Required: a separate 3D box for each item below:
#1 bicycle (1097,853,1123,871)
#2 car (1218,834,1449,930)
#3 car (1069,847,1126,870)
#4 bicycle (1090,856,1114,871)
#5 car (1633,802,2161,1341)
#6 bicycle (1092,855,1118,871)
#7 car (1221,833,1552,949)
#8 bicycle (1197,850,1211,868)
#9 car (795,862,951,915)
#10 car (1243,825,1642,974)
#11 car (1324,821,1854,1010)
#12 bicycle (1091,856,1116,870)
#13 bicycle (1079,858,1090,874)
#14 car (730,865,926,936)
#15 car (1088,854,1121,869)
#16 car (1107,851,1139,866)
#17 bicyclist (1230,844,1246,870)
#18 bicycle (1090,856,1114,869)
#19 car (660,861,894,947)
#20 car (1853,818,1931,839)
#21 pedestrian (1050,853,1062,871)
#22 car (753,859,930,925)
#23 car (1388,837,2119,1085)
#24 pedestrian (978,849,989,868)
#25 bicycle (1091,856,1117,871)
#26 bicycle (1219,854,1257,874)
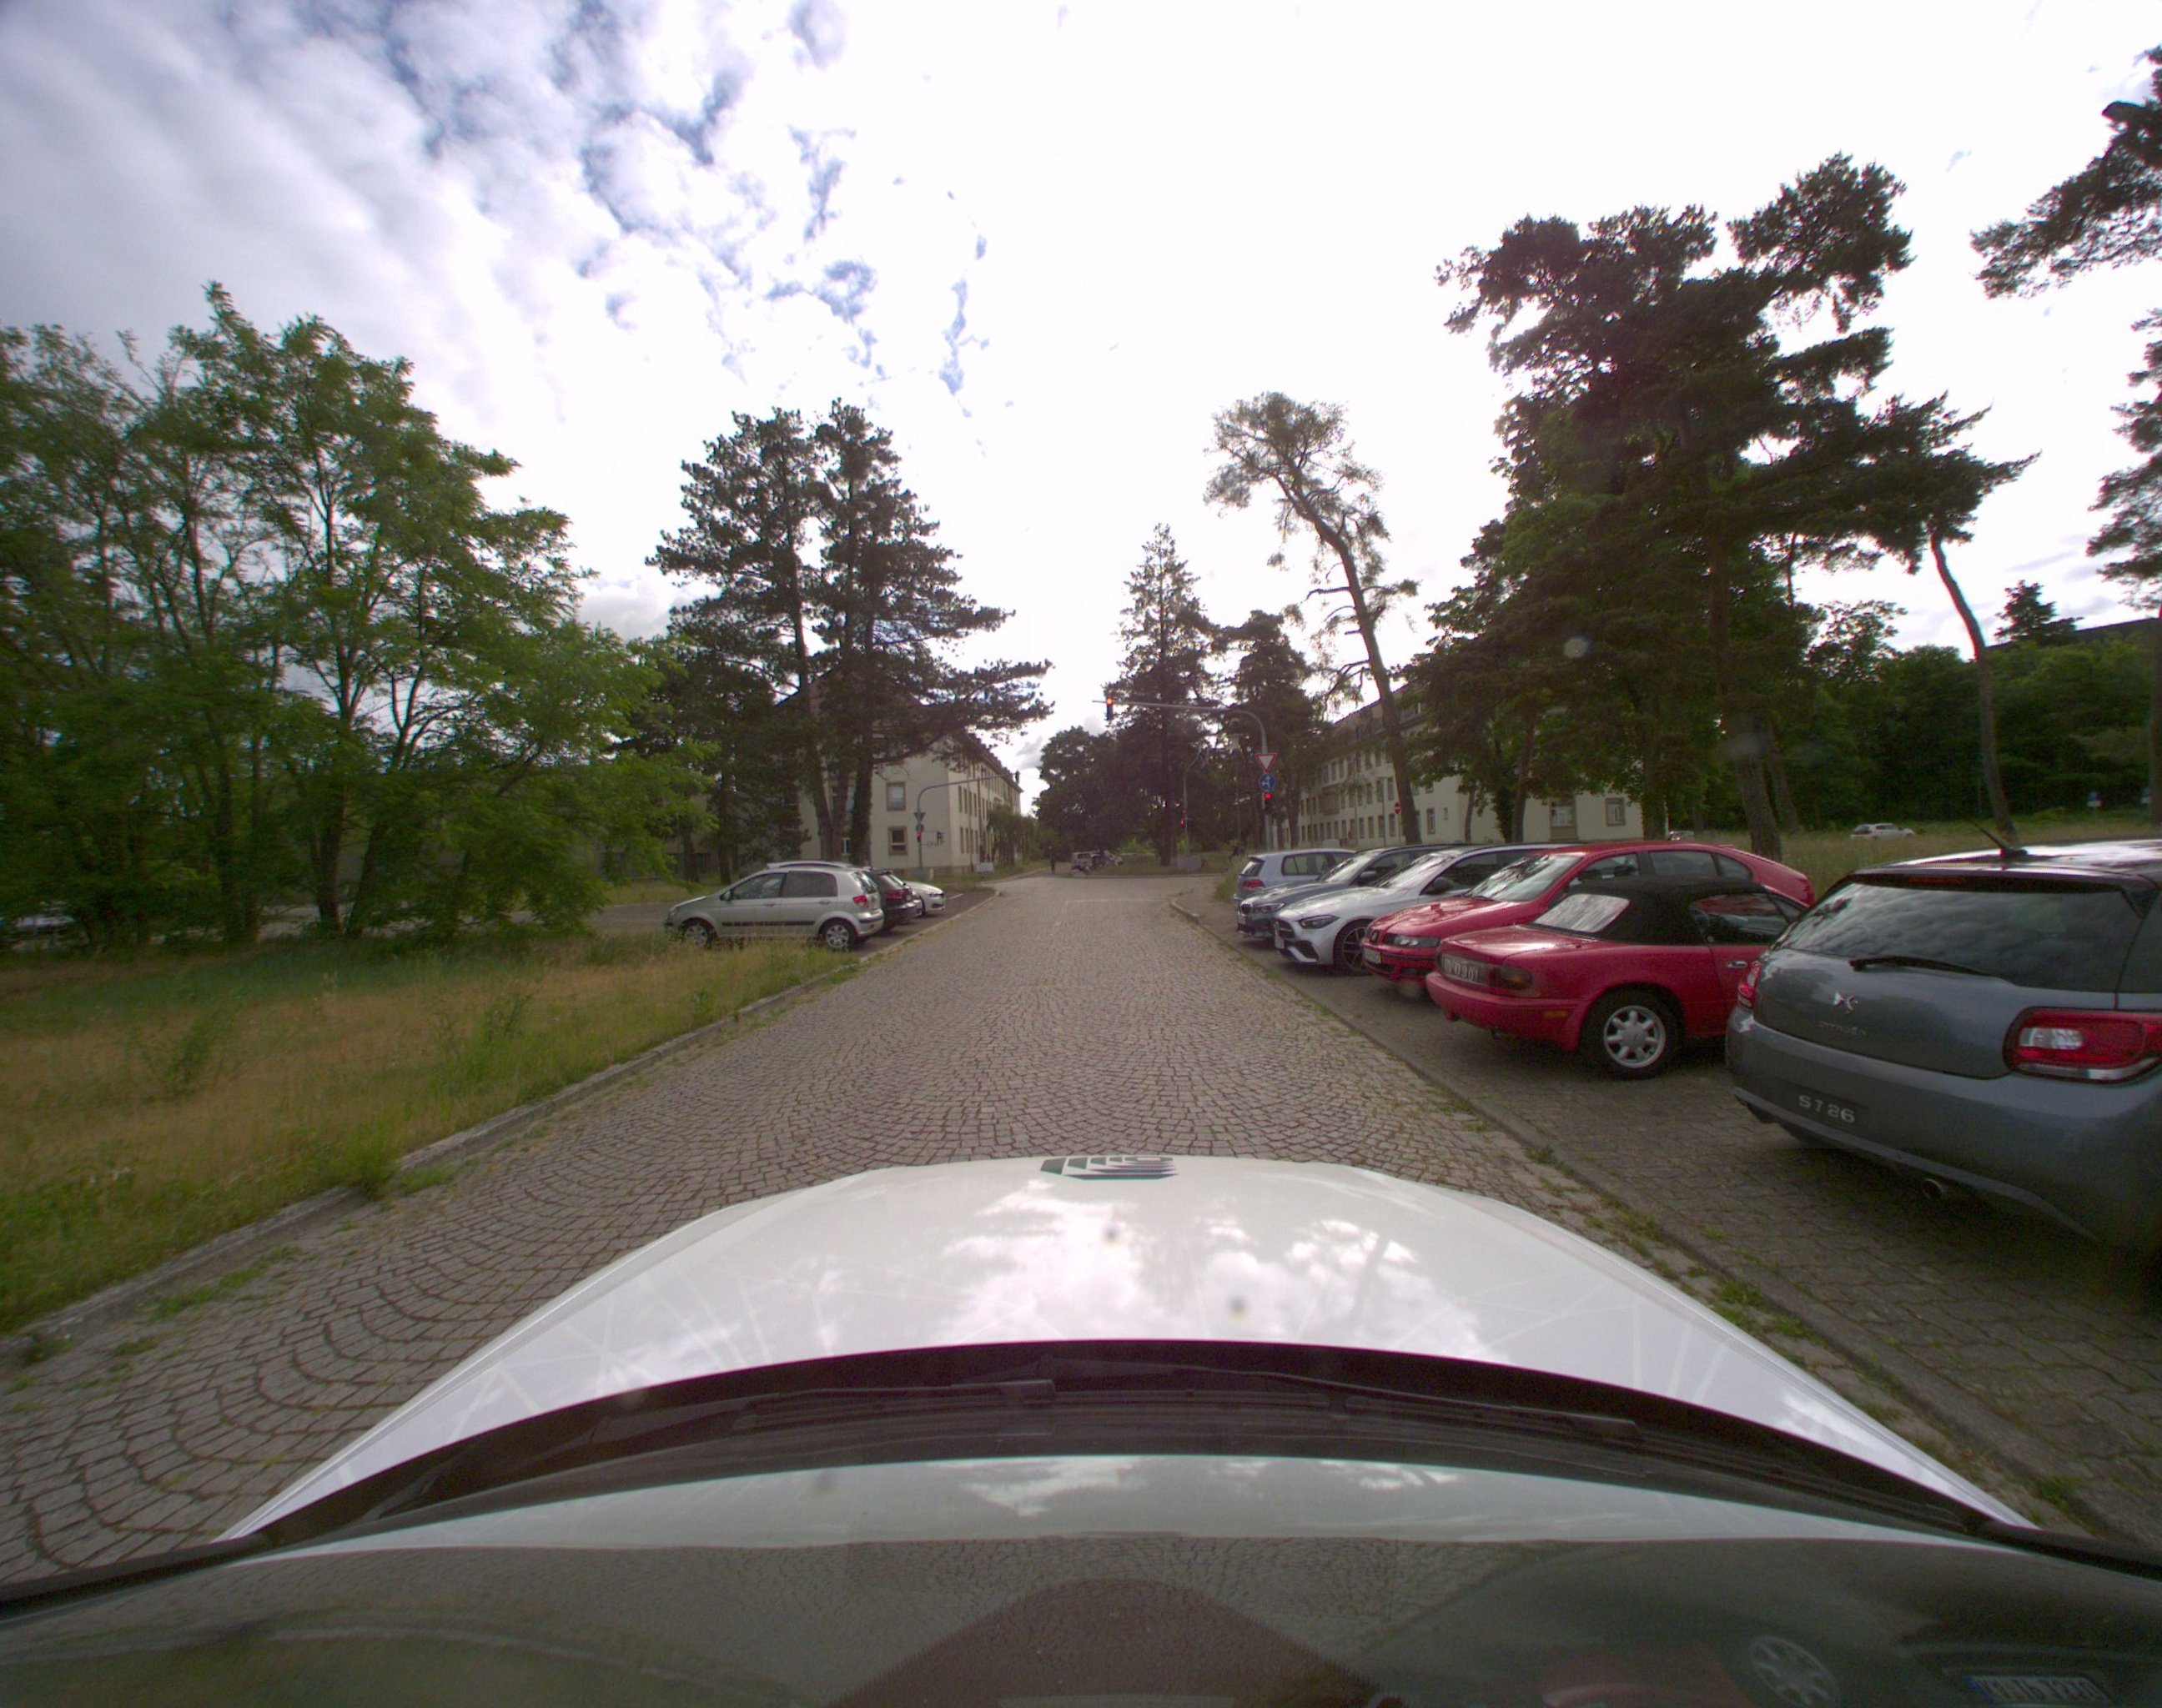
[{"bbox_3d":[2.362,0.641,66.109,1.953,1.384,0.586,-2,0,-7],"label":"bicycle"},{"bbox_3d":[4.784,0.511,15.808,3.912,1.477,1.643,-4,0,1],"label":"car"},{"bbox_3d":[1.659,0.474,82.728,5.359,1.925,2.019,-4,0,-9],"label":"car"},{"bbox_3d":[1.728,0.773,66.760,1.967,1.069,0.582,-3,0,-30],"label":"bicycle"},{"bbox_3d":[4.773,0.531,3.291,3.851,1.472,1.757,-4,0,-1],"label":"car"},{"bbox_3d":[1.875,0.718,64.644,1.953,1.132,0.586,-2,0,-7],"label":"bicycle"},{"bbox_3d":[4.839,0.556,13.357,4.669,1.416,1.869,-4,0,-2],"label":"car"},{"bbox_3d":[7.929,0.314,52.549,0.584,1.106,1.961,-2,0,0],"label":"bicycle"},{"bbox_3d":[-5.769,0.942,22.896,3.935,1.421,1.650,0,0,-1],"label":"car"},{"bbox_3d":[4.595,0.523,10.670,4.421,1.416,1.865,-4,0,-9],"label":"car"},{"bbox_3d":[4.946,0.559,8.402,4.248,1.416,1.871,-4,0,0],"label":"car"},{"bbox_3d":[1.892,0.769,68.110,1.967,1.069,0.582,-3,0,-30],"label":"bicycle"},{"bbox_3d":[0.248,0.886,61.443,0.602,1.132,1.958,-2,0,-5],"label":"bicycle"},{"bbox_3d":[-5.347,0.960,17.575,3.737,1.428,1.581,0,0,-3],"label":"car"},{"bbox_3d":[2.318,0.719,79.344,3.001,1.268,1.532,-3,0,-6],"label":"car"},{"bbox_3d":[4.422,0.472,86.615,3.224,1.416,1.723,-3,0,-3],"label":"car"},{"bbox_3d":[8.808,0.149,45.796,0.747,1.410,0.605,-2,0,0],"label":"bicyclist"},{"bbox_3d":[1.845,0.762,71.796,1.964,1.069,0.583,-3,0,-25],"label":"bicycle"},{"bbox_3d":[-5.470,0.870,14.978,3.694,1.479,1.581,0,0,-3],"label":"car"},{"bbox_3d":[58.055,-1.819,58.347,3.931,1.421,1.651,0,0,3],"label":"car"},{"bbox_3d":[-2.307,0.731,74.586,0.743,1.618,0.769,-3,0,-30],"label":"pedestrian"},{"bbox_3d":[-5.883,0.910,20.359,3.938,1.563,1.648,0,0,-3],"label":"car"},{"bbox_3d":[4.512,0.652,5.917,3.851,1.236,1.757,-4,0,-1],"label":"car"},{"bbox_3d":[-9.642,0.446,80.356,0.779,1.837,0.733,-3,0,-31],"label":"pedestrian"},{"bbox_3d":[1.819,0.744,65.277,1.953,1.117,0.586,-2,0,-7],"label":"bicycle"},{"bbox_3d":[8.828,0.552,45.797,1.949,1.024,0.605,-2,0,0],"label":"bicycle"}]
